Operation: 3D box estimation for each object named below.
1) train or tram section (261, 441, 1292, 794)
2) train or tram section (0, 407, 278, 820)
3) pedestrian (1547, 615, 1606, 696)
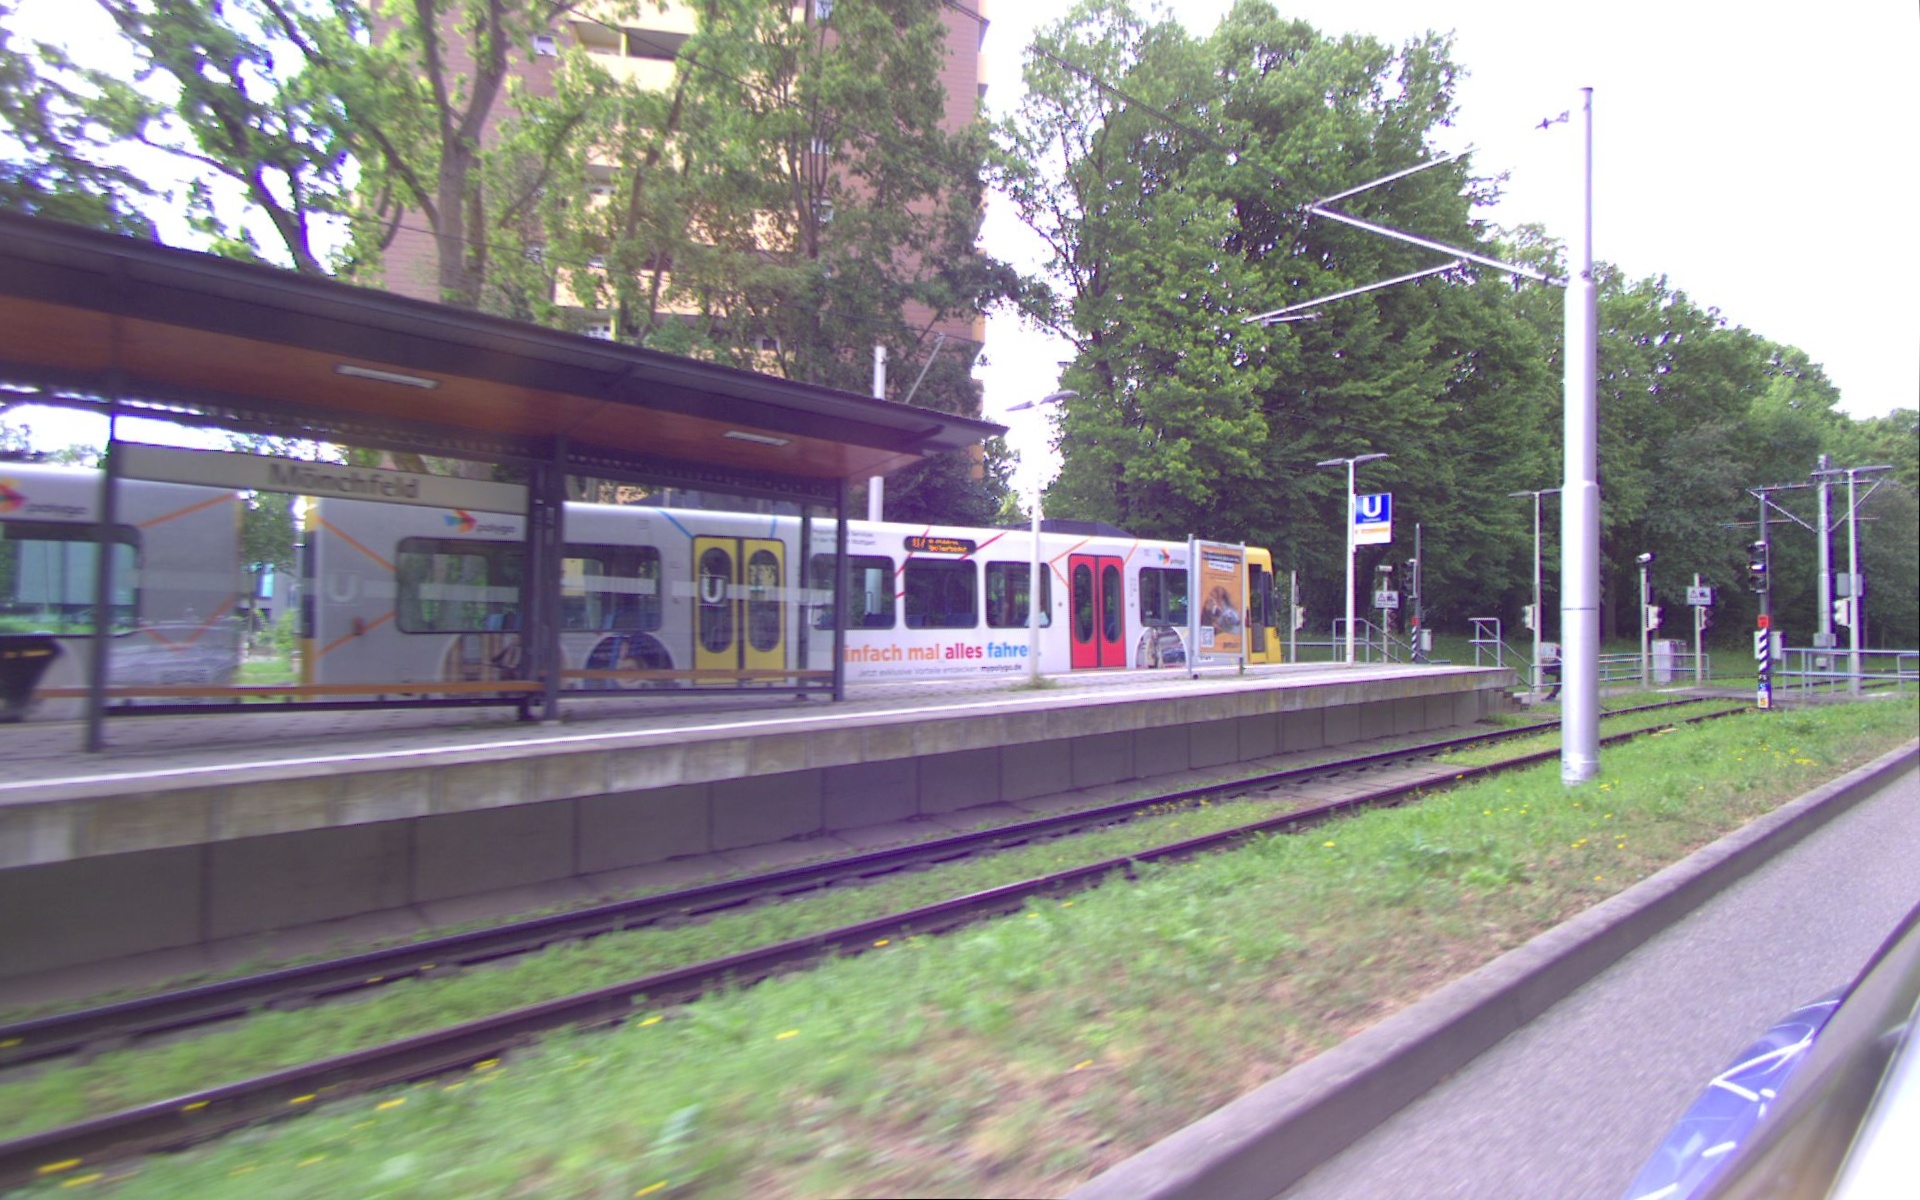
[{"bbox_3d":[-0.958,0.301,17.497,18.187,3.786,2.820,1,-3,-37],"label":"train or tram section"},{"bbox_3d":[-15.230,0.085,5.777,18.601,3.848,2.817,1,-3,-41],"label":"train or tram section"},{"bbox_3d":[13.941,1.255,22.895,0.983,1.781,0.718,-3,-4,43],"label":"pedestrian"}]
